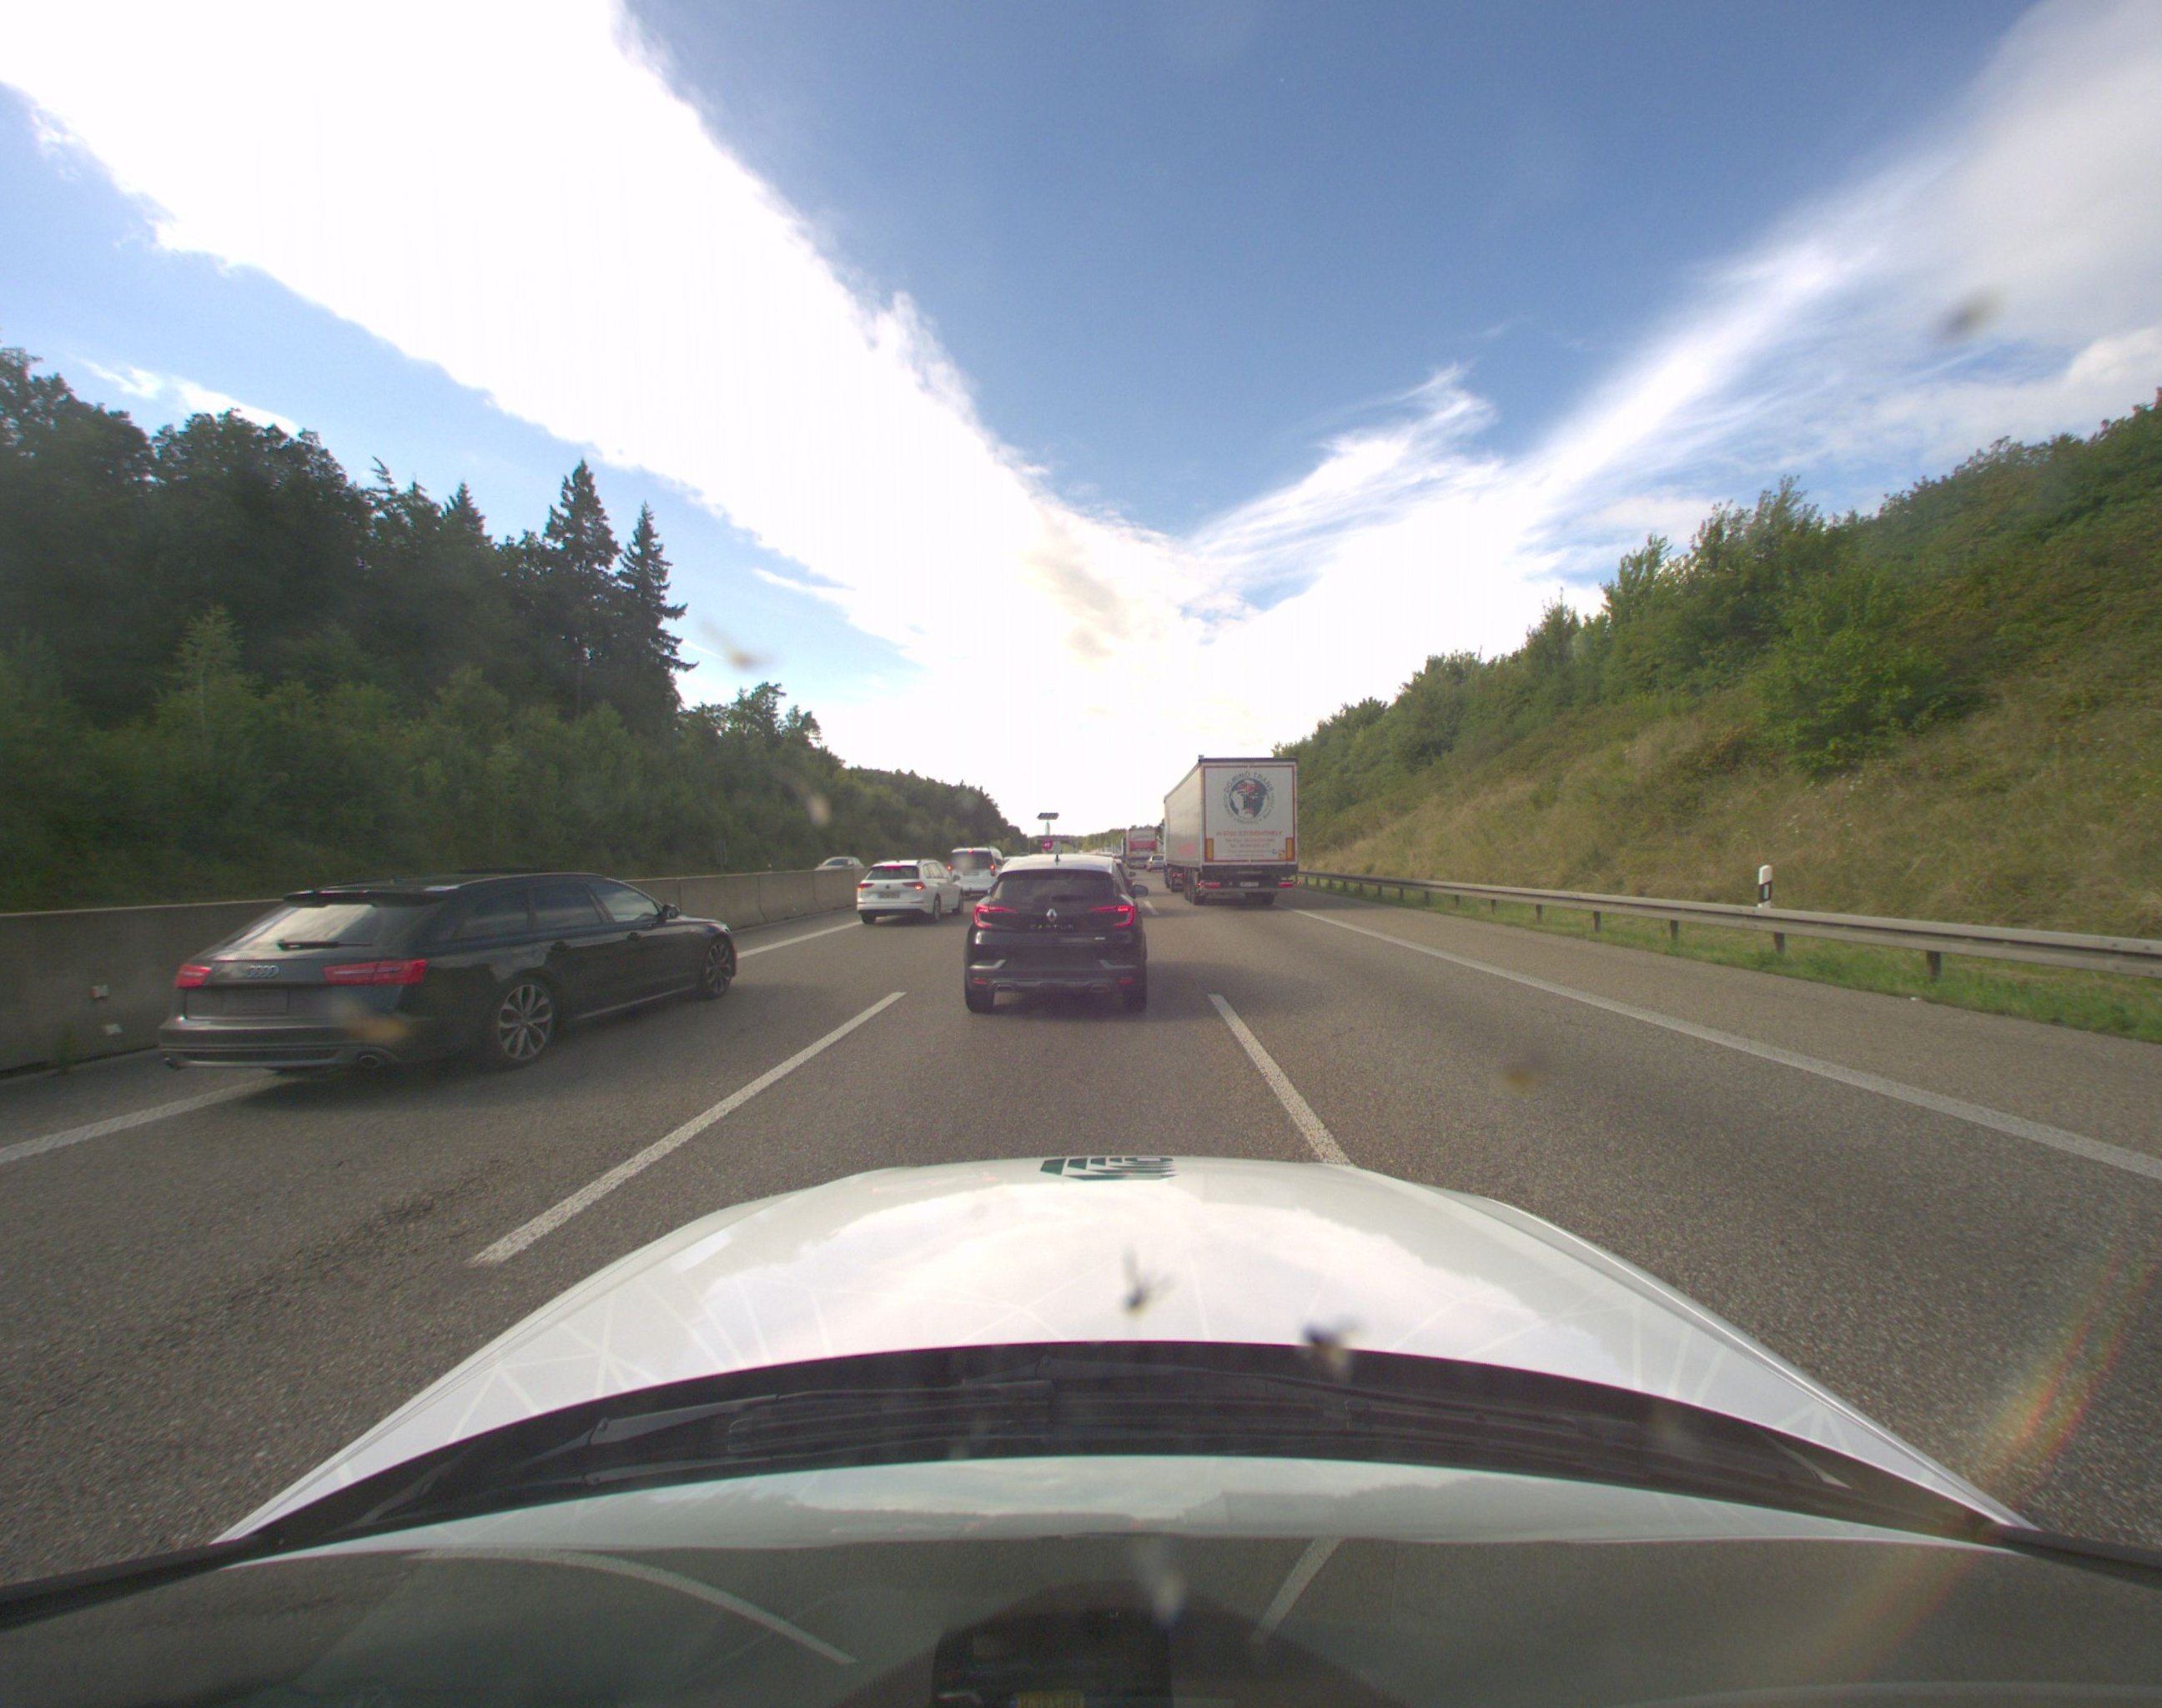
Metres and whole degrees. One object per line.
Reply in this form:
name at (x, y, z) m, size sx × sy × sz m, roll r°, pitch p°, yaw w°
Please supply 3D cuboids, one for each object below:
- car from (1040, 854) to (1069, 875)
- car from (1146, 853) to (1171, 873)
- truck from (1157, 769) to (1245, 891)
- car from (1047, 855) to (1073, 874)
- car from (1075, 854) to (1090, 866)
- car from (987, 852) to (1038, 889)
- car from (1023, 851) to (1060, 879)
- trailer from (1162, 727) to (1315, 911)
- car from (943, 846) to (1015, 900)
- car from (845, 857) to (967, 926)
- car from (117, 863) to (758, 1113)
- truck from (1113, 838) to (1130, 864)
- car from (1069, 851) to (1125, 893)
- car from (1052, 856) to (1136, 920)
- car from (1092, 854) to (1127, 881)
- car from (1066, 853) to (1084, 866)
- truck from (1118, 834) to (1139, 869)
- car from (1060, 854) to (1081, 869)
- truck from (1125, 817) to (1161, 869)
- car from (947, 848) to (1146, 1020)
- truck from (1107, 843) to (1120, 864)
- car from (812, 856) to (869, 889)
car at (-2.099, 0.829, 64.839) m, size 1.985 × 1.613 × 4.003 m, roll 0°, pitch -1°, yaw 3°
car at (6.413, 0.739, 67.728) m, size 1.798 × 1.533 × 3.926 m, roll 0°, pitch -1°, yaw 1°
truck at (4.906, -0.930, 34.428) m, size 2.985 × 4.667 × 5.942 m, roll -1°, pitch 0°, yaw 2°
car at (-1.822, 0.893, 72.349) m, size 1.985 × 1.613 × 4.003 m, roll 0°, pitch -1°, yaw 3°
car at (0.210, 0.799, 115.023) m, size 1.985 × 1.613 × 4.003 m, roll -1°, pitch 0°, yaw 3°
car at (-3.217, 0.759, 38.859) m, size 1.848 × 1.641 × 3.929 m, roll 0°, pitch -1°, yaw 3°
car at (-2.533, 0.726, 52.639) m, size 1.985 × 1.722 × 4.003 m, roll 0°, pitch -1°, yaw 3°
trailer at (4.652, -0.899, 27.354) m, size 2.990 × 4.661 × 13.296 m, roll -1°, pitch 0°, yaw 2°
car at (-3.596, 0.656, 29.461) m, size 1.905 × 1.789 × 4.418 m, roll 0°, pitch -1°, yaw 1°
car at (-4.086, 0.825, 19.749) m, size 1.797 × 1.461 × 4.312 m, roll -1°, pitch 0°, yaw 3°
car at (-4.869, 0.840, 7.330) m, size 1.835 × 1.456 × 4.751 m, roll 0°, pitch 0°, yaw 3°
truck at (8.870, -0.606, 176.193) m, size 3.152 × 5.505 × 12.752 m, roll 0°, pitch -1°, yaw 4°
car at (0.676, 0.655, 31.226) m, size 1.985 × 1.514 × 4.003 m, roll 0°, pitch -1°, yaw 3°
car at (0.402, 0.818, 21.347) m, size 1.985 × 1.514 × 4.003 m, roll 0°, pitch -1°, yaw 3°
car at (1.710, 0.798, 48.384) m, size 1.985 × 1.514 × 4.003 m, roll 0°, pitch -1°, yaw 3°
car at (-0.697, 0.697, 102.510) m, size 1.985 × 1.613 × 4.003 m, roll -1°, pitch 0°, yaw 3°
truck at (7.768, -0.339, 133.942) m, size 3.153 × 5.505 × 12.747 m, roll 0°, pitch -1°, yaw 3°
car at (-1.125, 0.775, 86.844) m, size 1.985 × 1.613 × 4.003 m, roll -1°, pitch 0°, yaw 3°
truck at (6.340, -1.002, 84.933) m, size 3.351 × 5.044 × 12.747 m, roll 0°, pitch -1°, yaw 3°
car at (-0.159, 0.744, 9.438) m, size 1.796 × 1.552 × 4.005 m, roll -1°, pitch 0°, yaw 5°
truck at (8.472, -0.129, 208.915) m, size 3.153 × 5.159 × 12.747 m, roll 0°, pitch -1°, yaw 3°
car at (-14.109, 1.054, 48.028) m, size 1.845 × 1.810 × 4.627 m, roll 0°, pitch 0°, yaw 2°
